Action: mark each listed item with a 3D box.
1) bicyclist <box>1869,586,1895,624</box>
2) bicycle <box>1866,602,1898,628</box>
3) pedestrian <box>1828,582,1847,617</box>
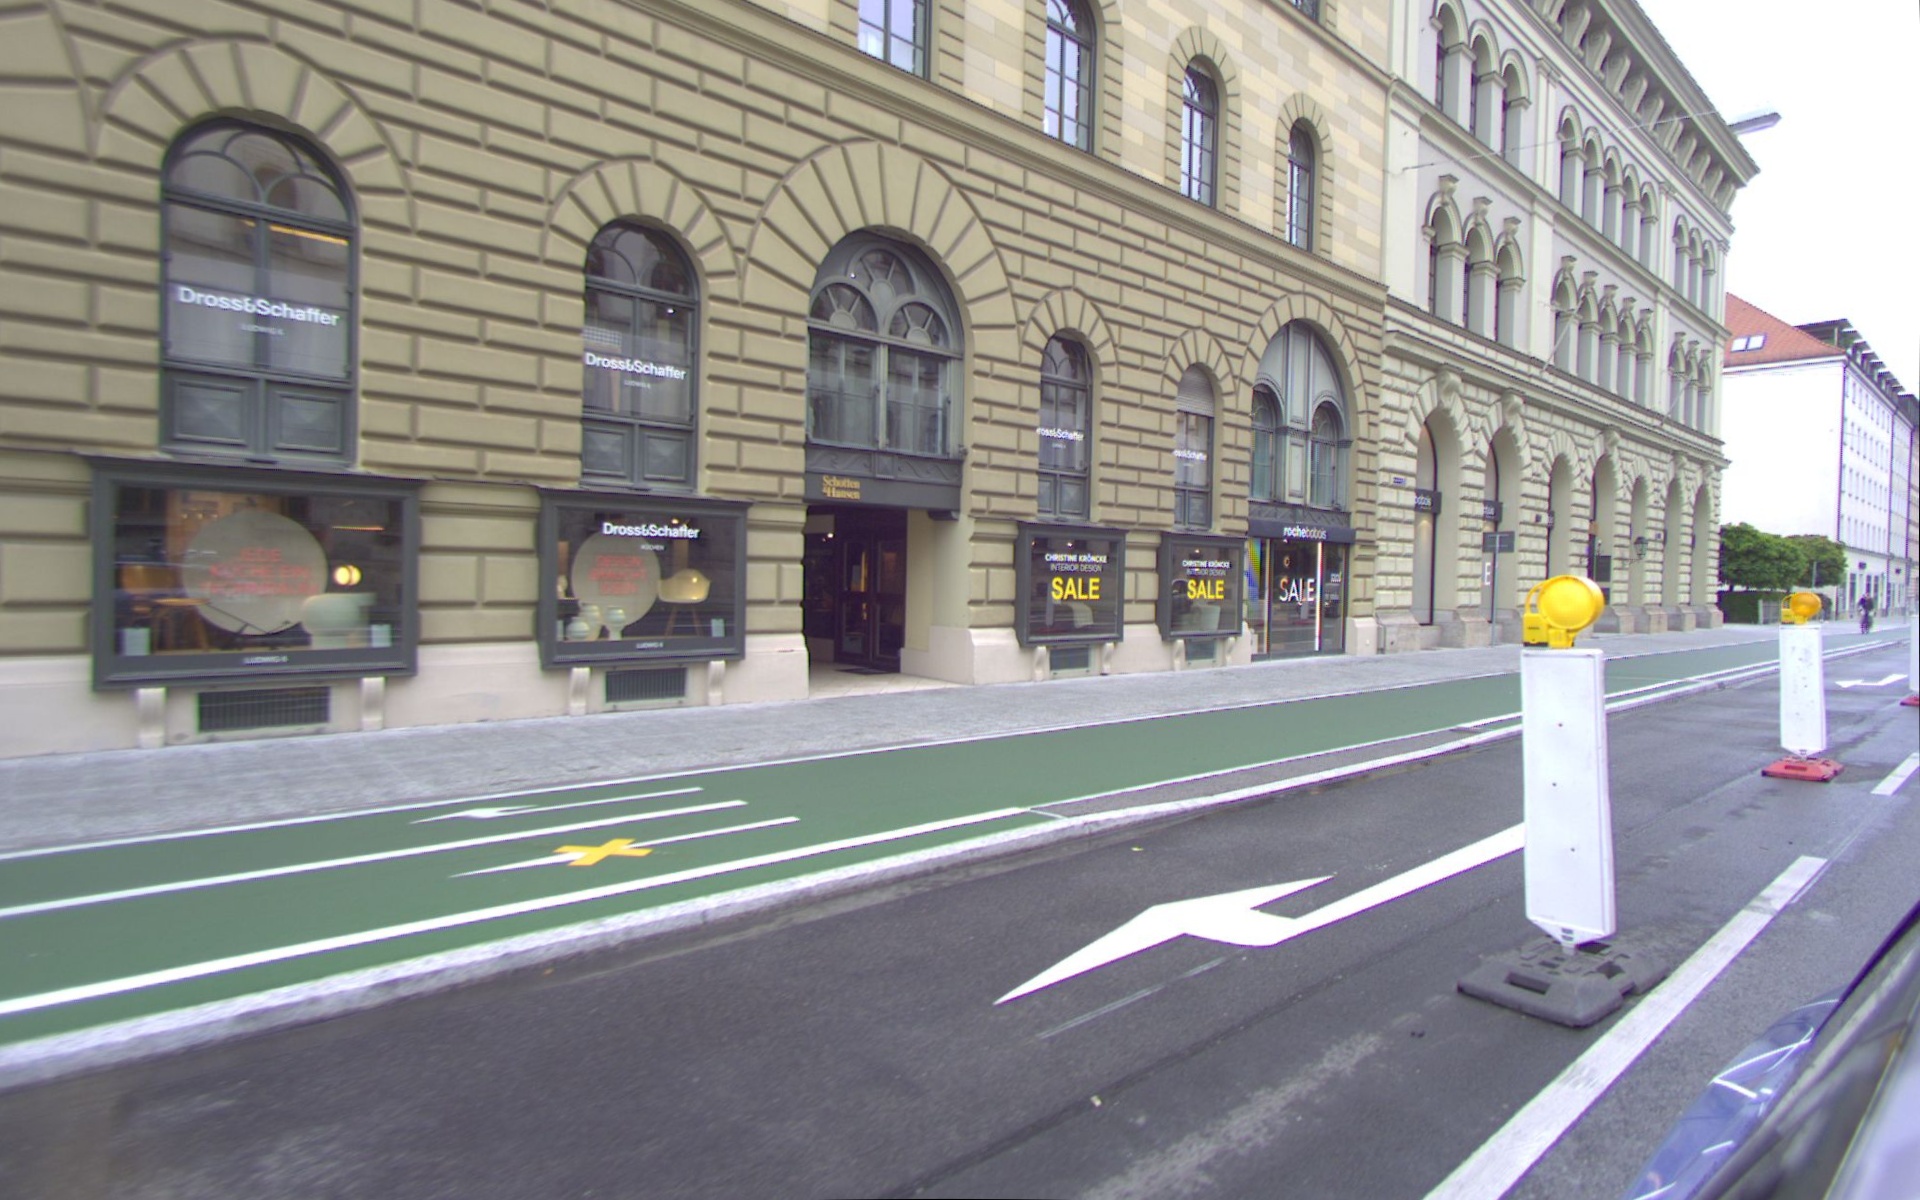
[{"bbox_3d":[38.856,0.202,42.659,0.844,1.572,0.723,0,0,-42],"label":"bicyclist"},{"bbox_3d":[38.929,0.626,42.726,2.487,1.045,0.750,0,0,-42],"label":"bicycle"},{"bbox_3d":[49.114,-0.026,56.643,0.811,1.897,0.654,0,2,-41],"label":"pedestrian"}]
